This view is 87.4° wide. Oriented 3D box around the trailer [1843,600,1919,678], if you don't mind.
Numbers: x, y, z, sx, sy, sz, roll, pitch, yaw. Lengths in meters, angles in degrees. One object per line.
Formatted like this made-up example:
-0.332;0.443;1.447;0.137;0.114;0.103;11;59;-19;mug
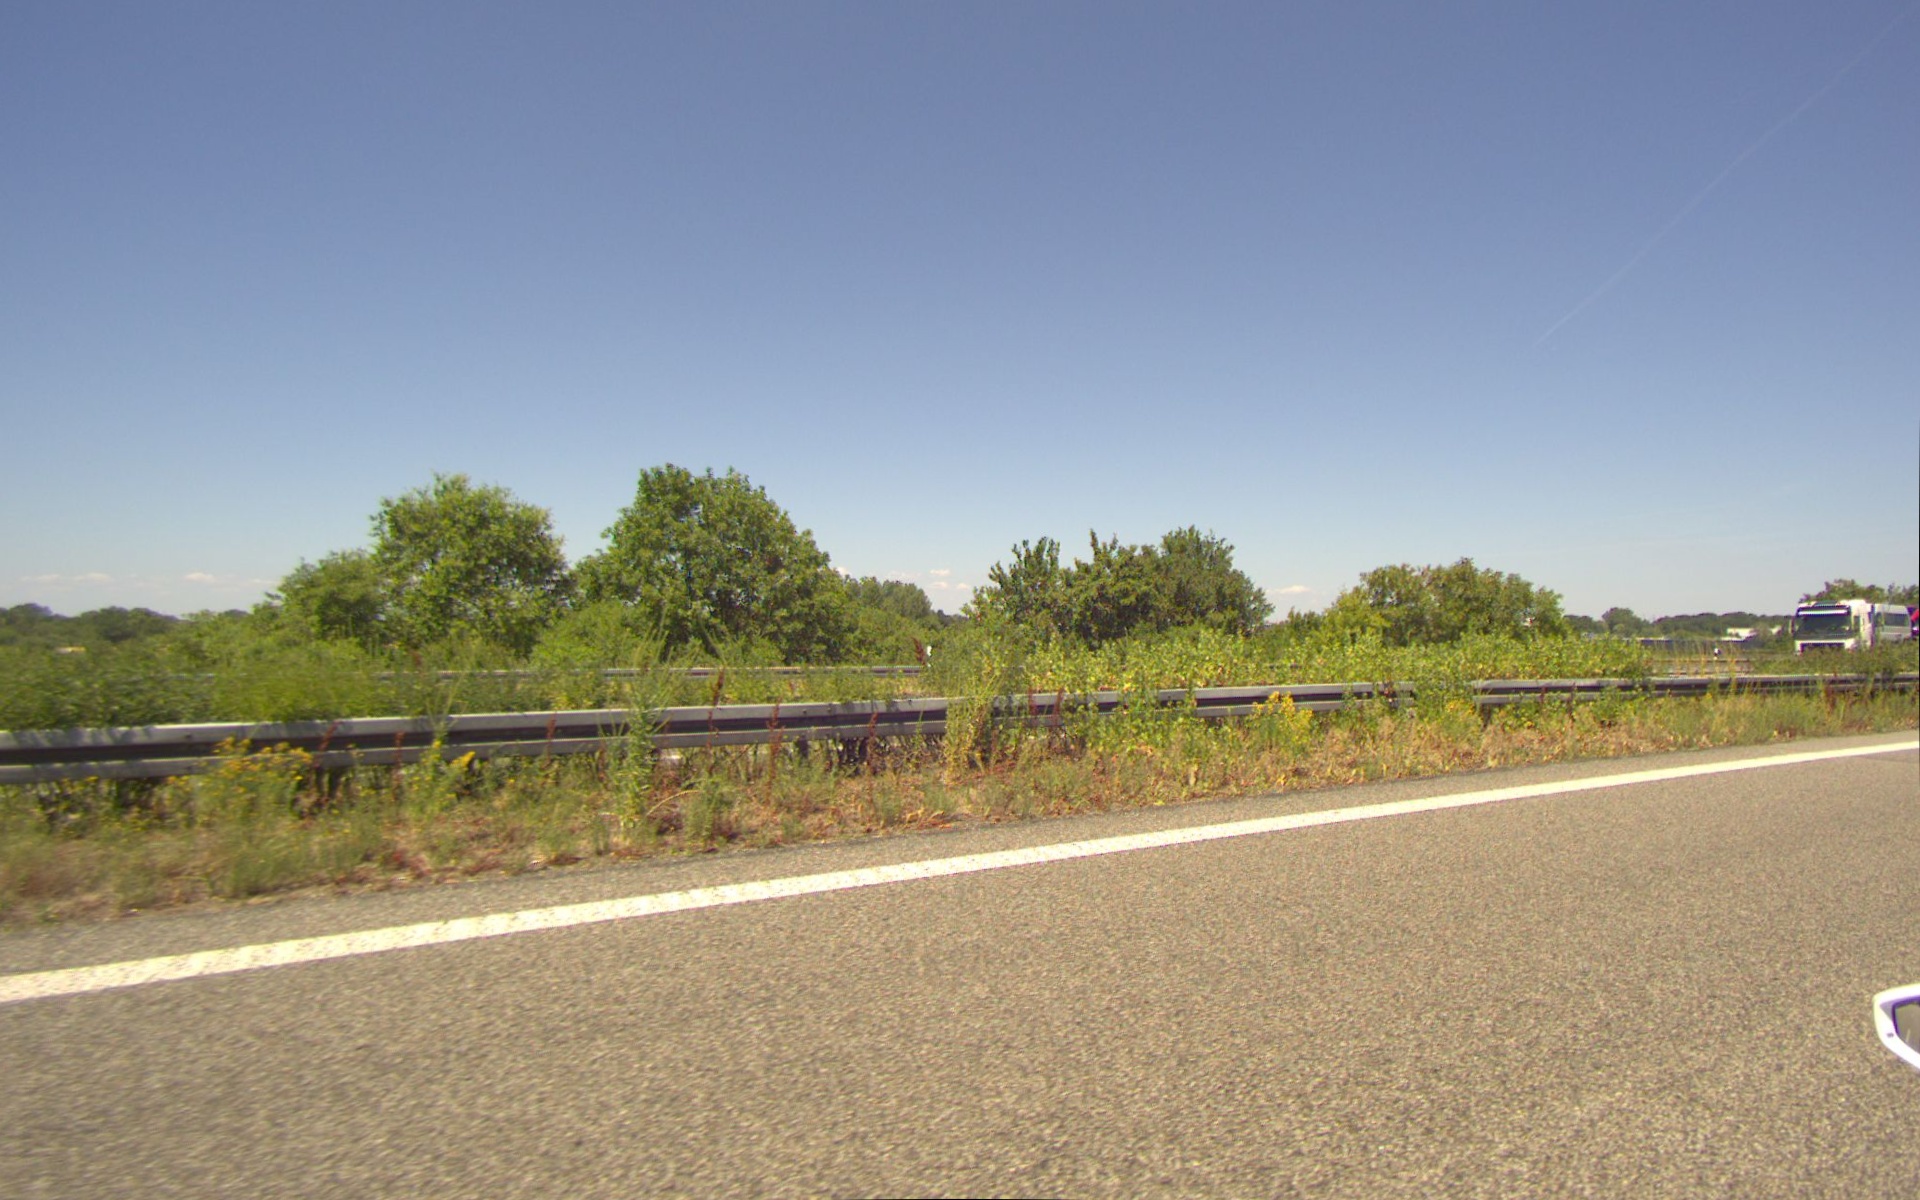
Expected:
52.964;2.122;56.064;9.551;4.044;2.910;1;0;-32;trailer

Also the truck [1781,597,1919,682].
45.913;1.956;51.631;9.518;4.044;2.901;1;0;-33;truck
